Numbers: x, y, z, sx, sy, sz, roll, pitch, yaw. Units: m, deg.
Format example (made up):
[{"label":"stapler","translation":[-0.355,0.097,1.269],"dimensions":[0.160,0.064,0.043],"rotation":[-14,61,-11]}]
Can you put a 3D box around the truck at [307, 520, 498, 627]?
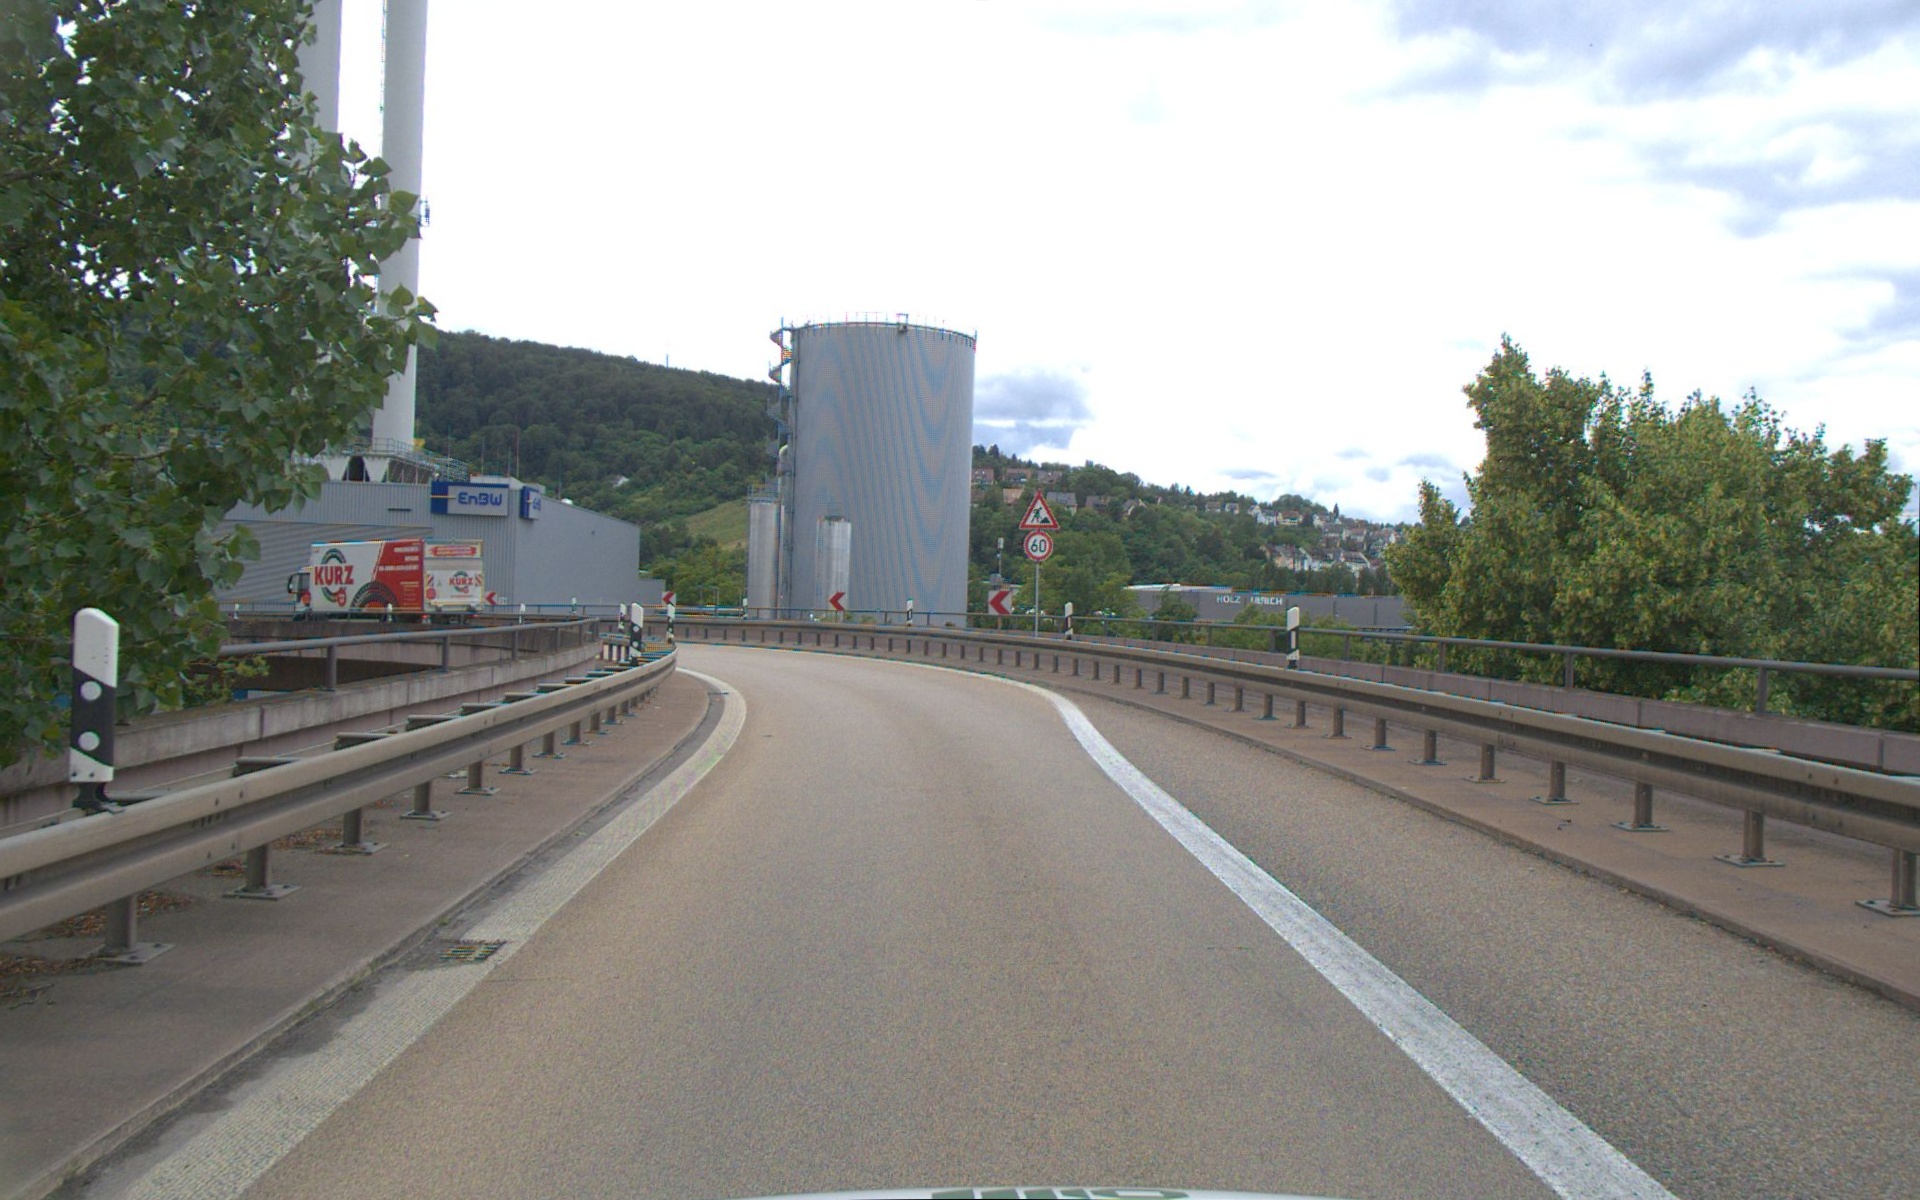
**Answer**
[{"label":"truck","translation":[-20.725,-0.931,61.271],"dimensions":[7.778,3.737,3.045],"rotation":[1,-1,40]}]
